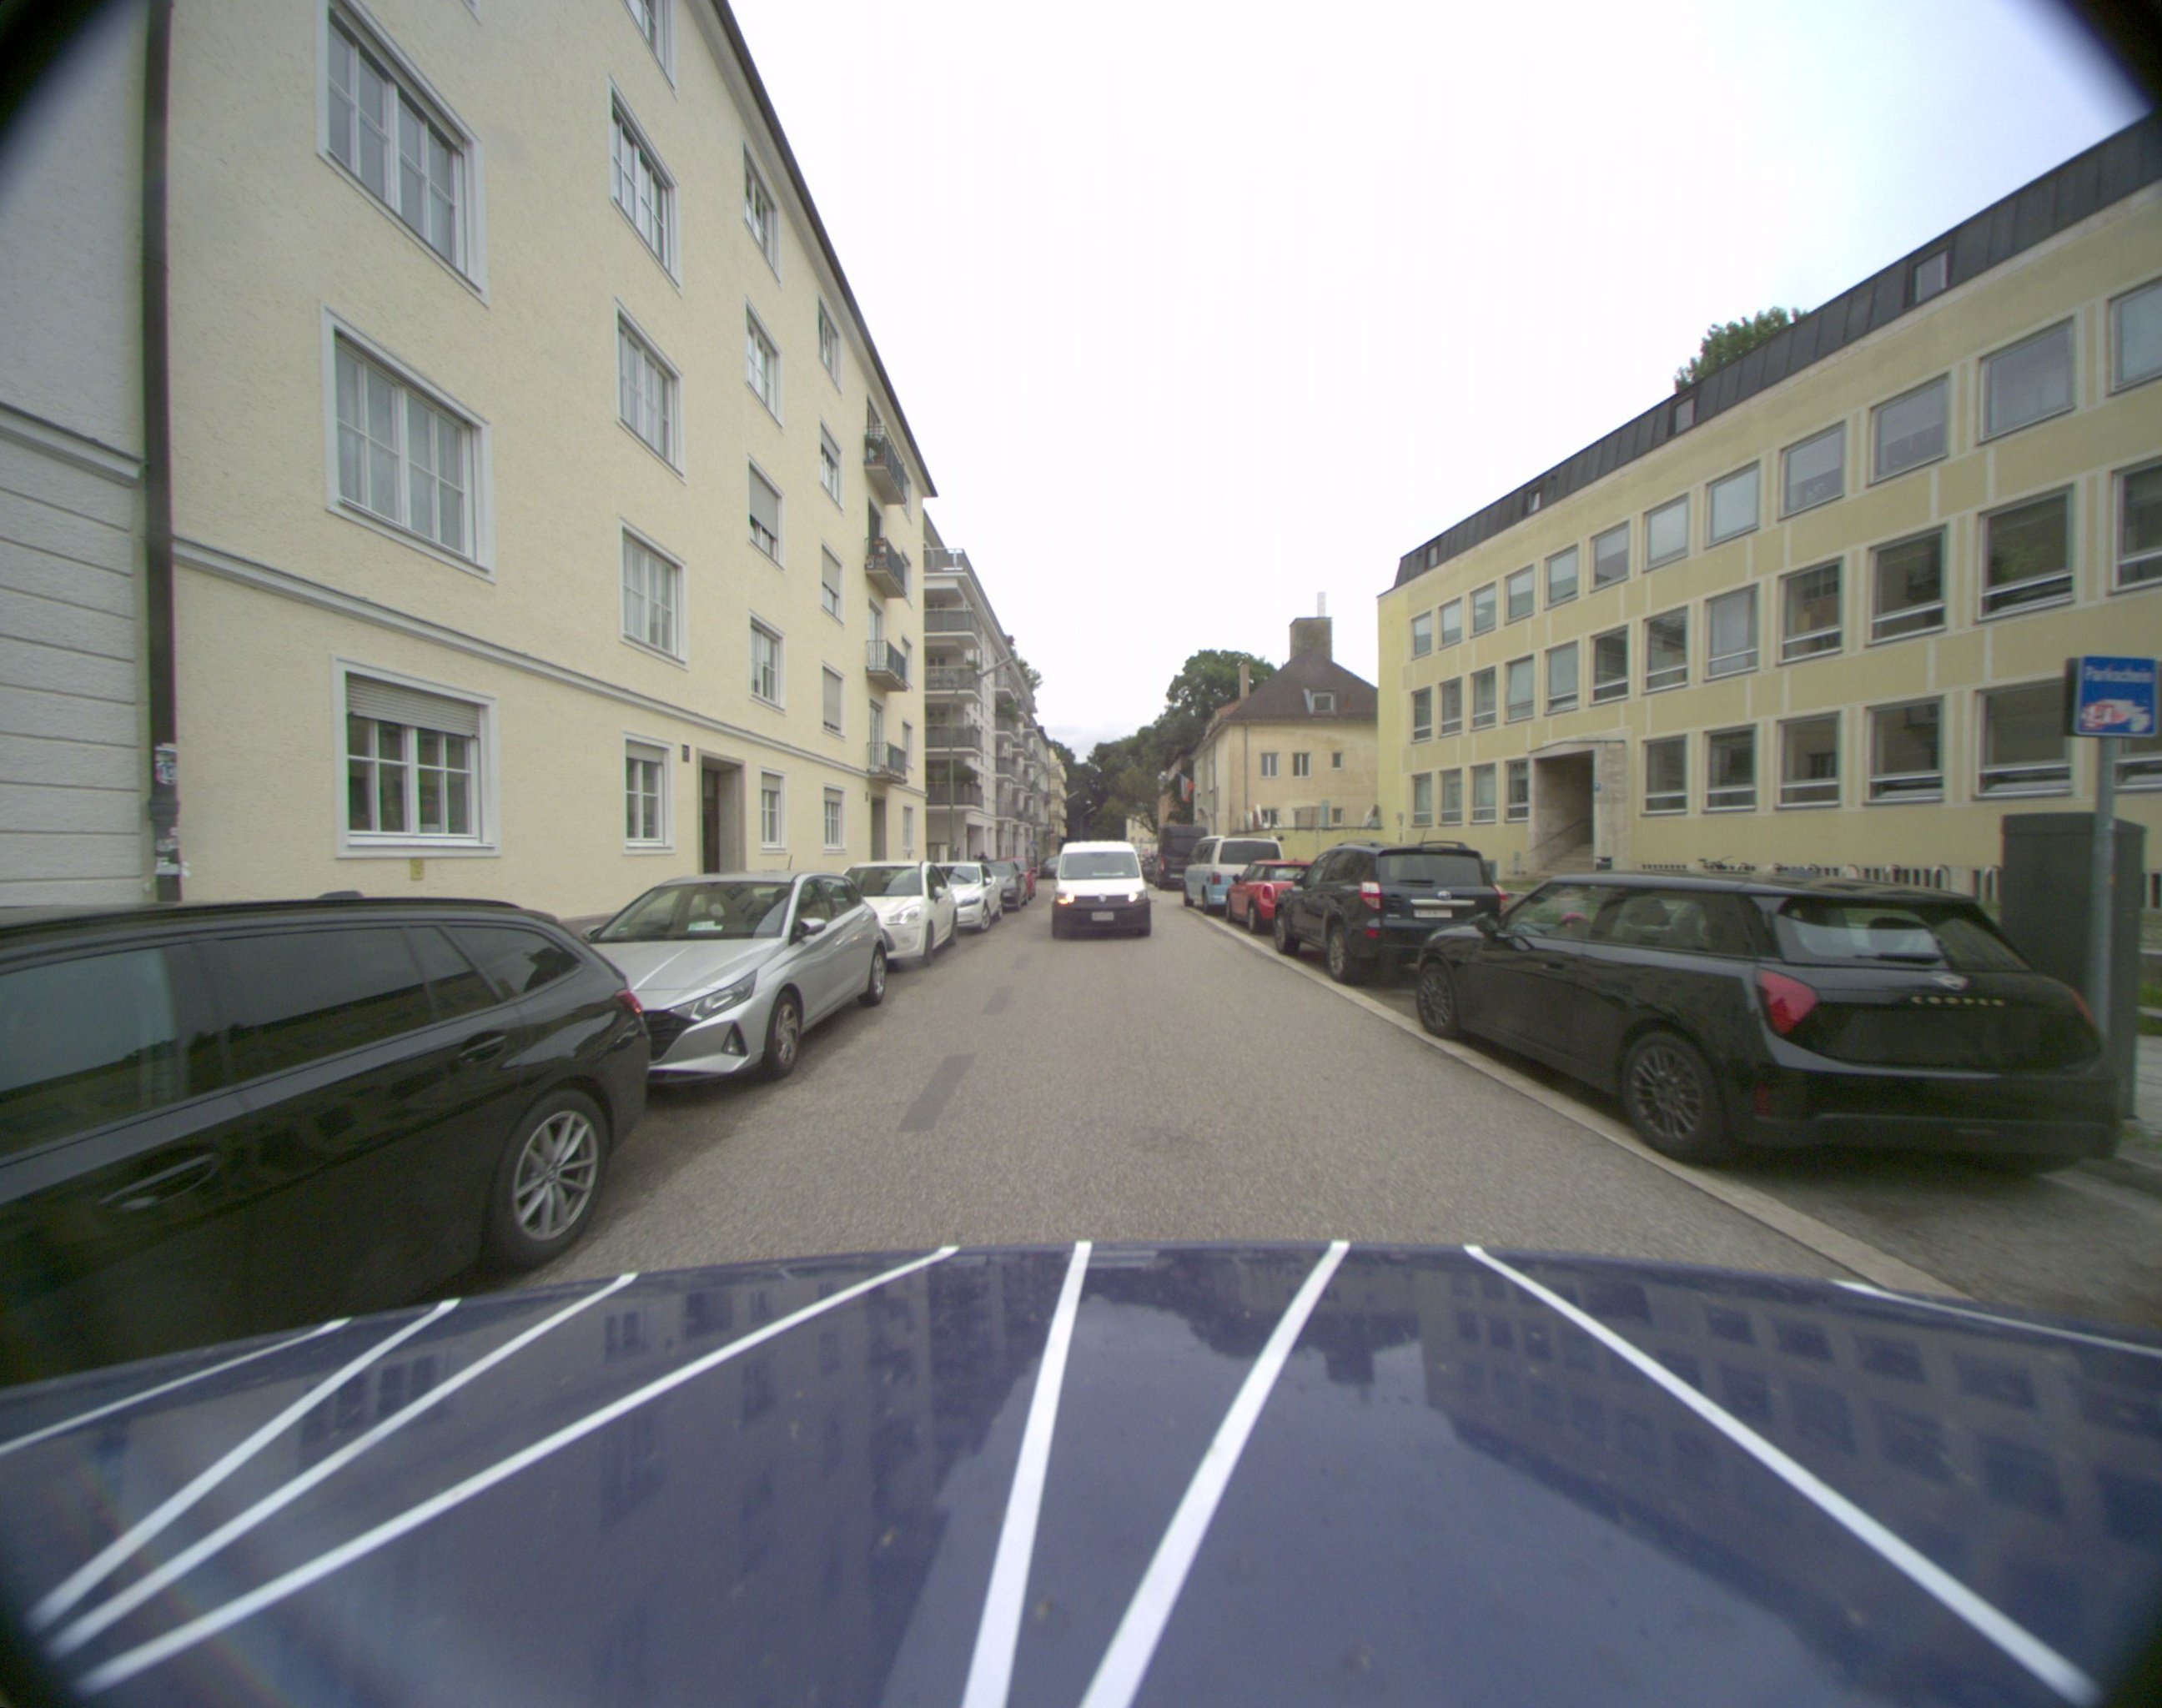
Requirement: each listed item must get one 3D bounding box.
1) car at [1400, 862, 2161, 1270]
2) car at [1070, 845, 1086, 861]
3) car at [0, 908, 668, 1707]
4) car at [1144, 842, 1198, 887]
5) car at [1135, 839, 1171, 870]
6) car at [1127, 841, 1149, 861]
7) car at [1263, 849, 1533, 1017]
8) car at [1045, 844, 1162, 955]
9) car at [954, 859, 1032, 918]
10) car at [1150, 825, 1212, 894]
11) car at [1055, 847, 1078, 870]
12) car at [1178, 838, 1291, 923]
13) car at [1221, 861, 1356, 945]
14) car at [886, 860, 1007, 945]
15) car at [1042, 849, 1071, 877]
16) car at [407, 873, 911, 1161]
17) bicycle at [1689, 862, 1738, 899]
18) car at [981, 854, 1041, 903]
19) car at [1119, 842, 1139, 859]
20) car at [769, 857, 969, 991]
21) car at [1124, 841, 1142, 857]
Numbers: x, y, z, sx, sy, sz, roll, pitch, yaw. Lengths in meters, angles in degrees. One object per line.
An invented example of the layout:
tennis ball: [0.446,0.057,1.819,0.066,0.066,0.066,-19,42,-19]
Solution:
car: [3.721,0.864,4.862,1.745,1.459,3.685,-2,1,0]
car: [-0.350,-0.093,87.464,1.639,1.726,3.879,-2,1,1]
car: [-2.929,1.037,1.416,1.802,1.406,4.528,-2,1,0]
car: [4.574,0.476,39.207,2.215,2.070,4.959,-2,1,1]
car: [5.226,0.018,55.852,2.215,2.070,4.959,-2,1,1]
car: [6.618,-0.389,88.190,2.215,2.070,4.959,-2,1,1]
car: [3.773,0.806,9.923,1.745,1.679,4.121,1,1,0]
car: [0.384,0.704,14.712,1.884,1.762,4.924,0,1,1]
car: [-2.449,0.918,21.968,1.742,1.367,4.021,-2,1,0]
car: [4.254,0.182,33.108,1.998,2.702,4.959,-2,1,1]
car: [-1.166,0.343,62.995,1.639,1.726,3.879,-2,1,1]
car: [3.860,0.580,19.877,1.949,1.965,4.354,1,1,-2]
car: [4.050,0.905,15.402,1.745,1.396,3.455,1,1,0]
car: [-2.749,0.938,16.452,1.841,1.450,4.021,-2,1,0]
car: [-1.584,0.564,50.608,1.639,1.726,3.879,-2,1,1]
car: [-2.989,1.015,6.783,1.841,1.426,4.652,-2,1,0]
bicycle: [16.620,0.697,19.959,1.244,0.897,0.288,-3,2,-14]
car: [-2.456,0.815,27.534,1.742,1.507,4.021,-2,1,0]
car: [6.008,-0.450,96.205,2.215,2.070,4.959,-2,1,1]
car: [-2.994,0.897,11.739,1.841,1.538,4.267,-2,1,0]
car: [7.103,-0.710,104.679,2.215,2.070,4.959,-2,1,1]
